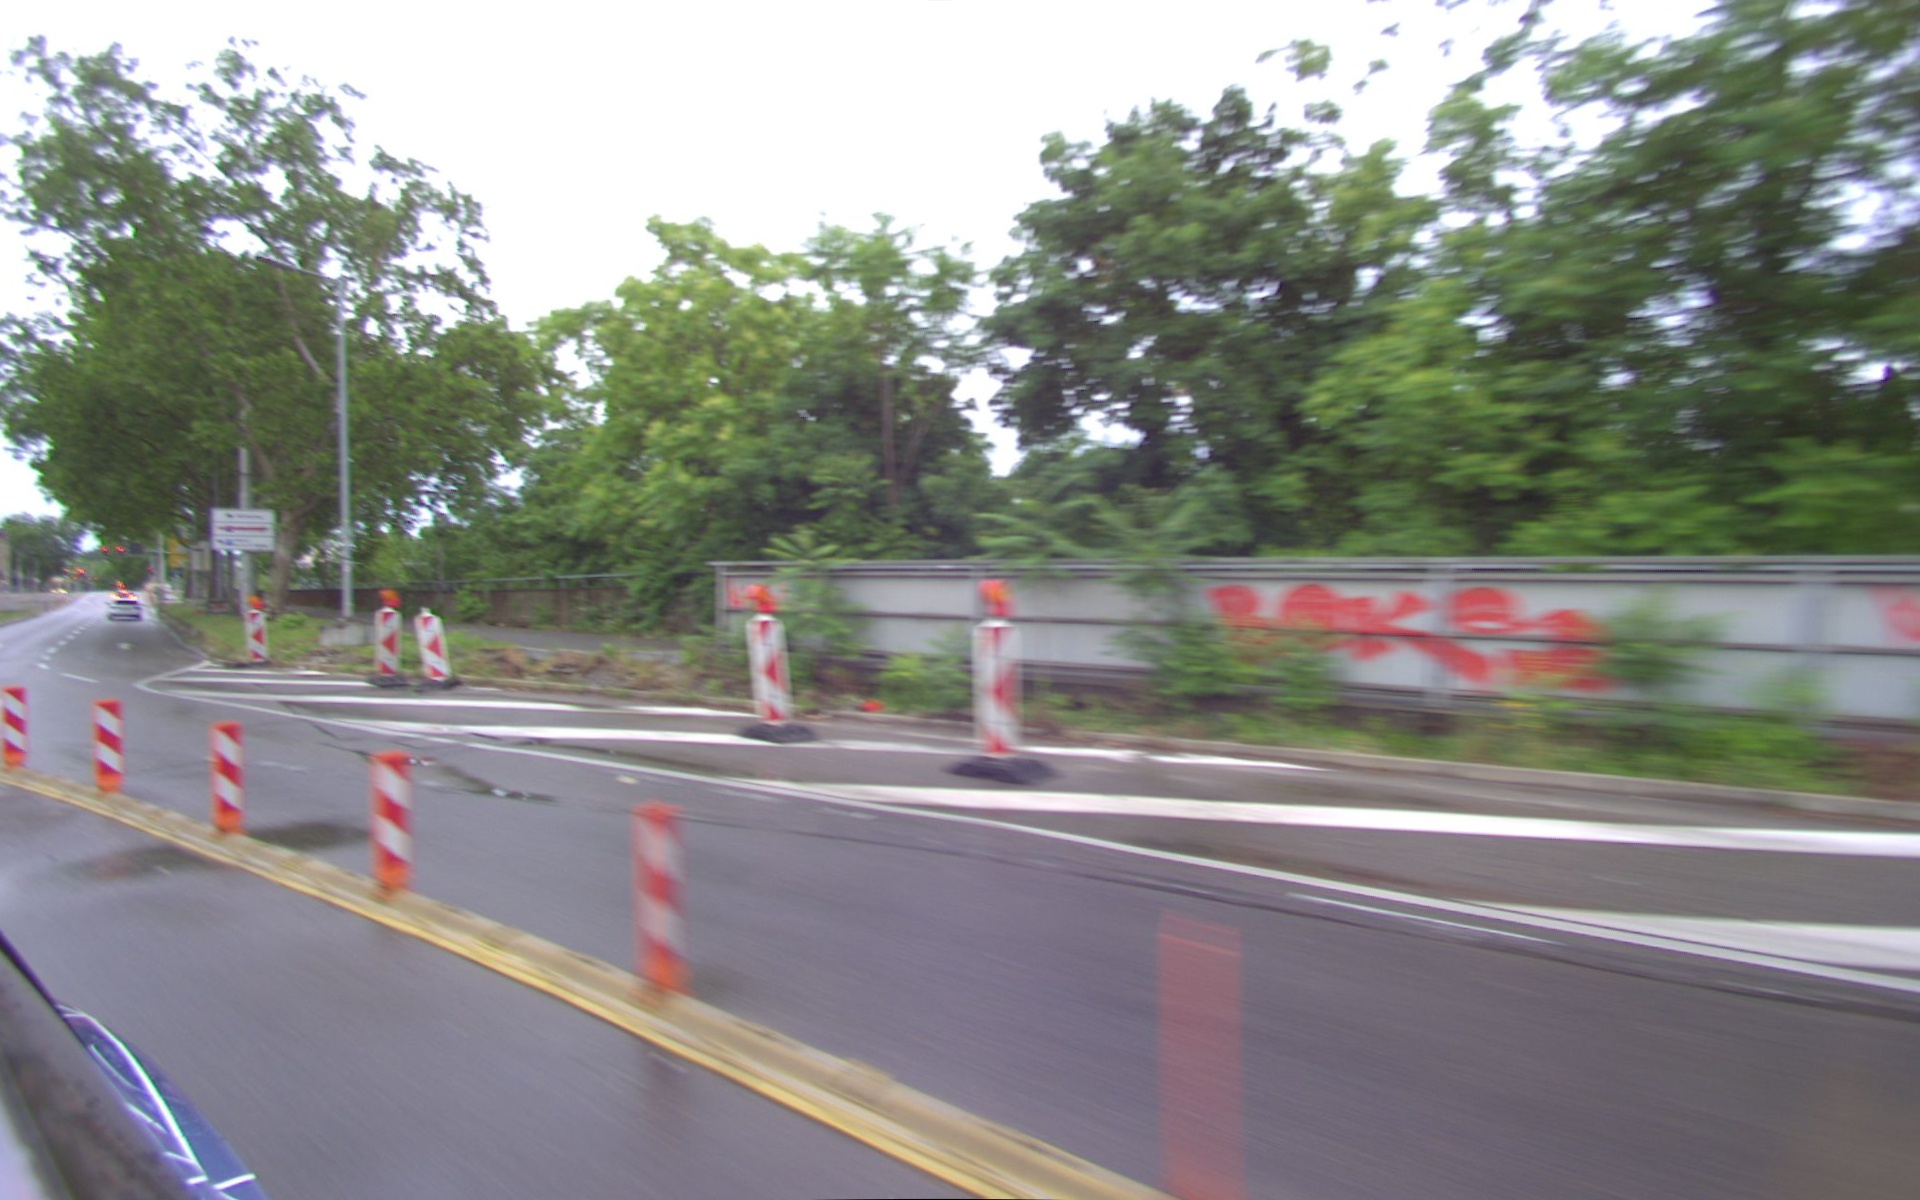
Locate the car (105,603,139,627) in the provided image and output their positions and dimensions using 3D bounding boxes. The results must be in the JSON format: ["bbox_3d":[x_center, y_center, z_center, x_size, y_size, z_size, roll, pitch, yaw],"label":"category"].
[{"bbox_3d":[-55.950,1.008,67.613,1.687,1.510,4.728,1,-1,-39],"label":"car"}]

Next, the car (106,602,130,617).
[{"bbox_3d":[-84.312,0.956,101.330,1.725,1.440,4.567,1,-1,-41],"label":"car"}]
